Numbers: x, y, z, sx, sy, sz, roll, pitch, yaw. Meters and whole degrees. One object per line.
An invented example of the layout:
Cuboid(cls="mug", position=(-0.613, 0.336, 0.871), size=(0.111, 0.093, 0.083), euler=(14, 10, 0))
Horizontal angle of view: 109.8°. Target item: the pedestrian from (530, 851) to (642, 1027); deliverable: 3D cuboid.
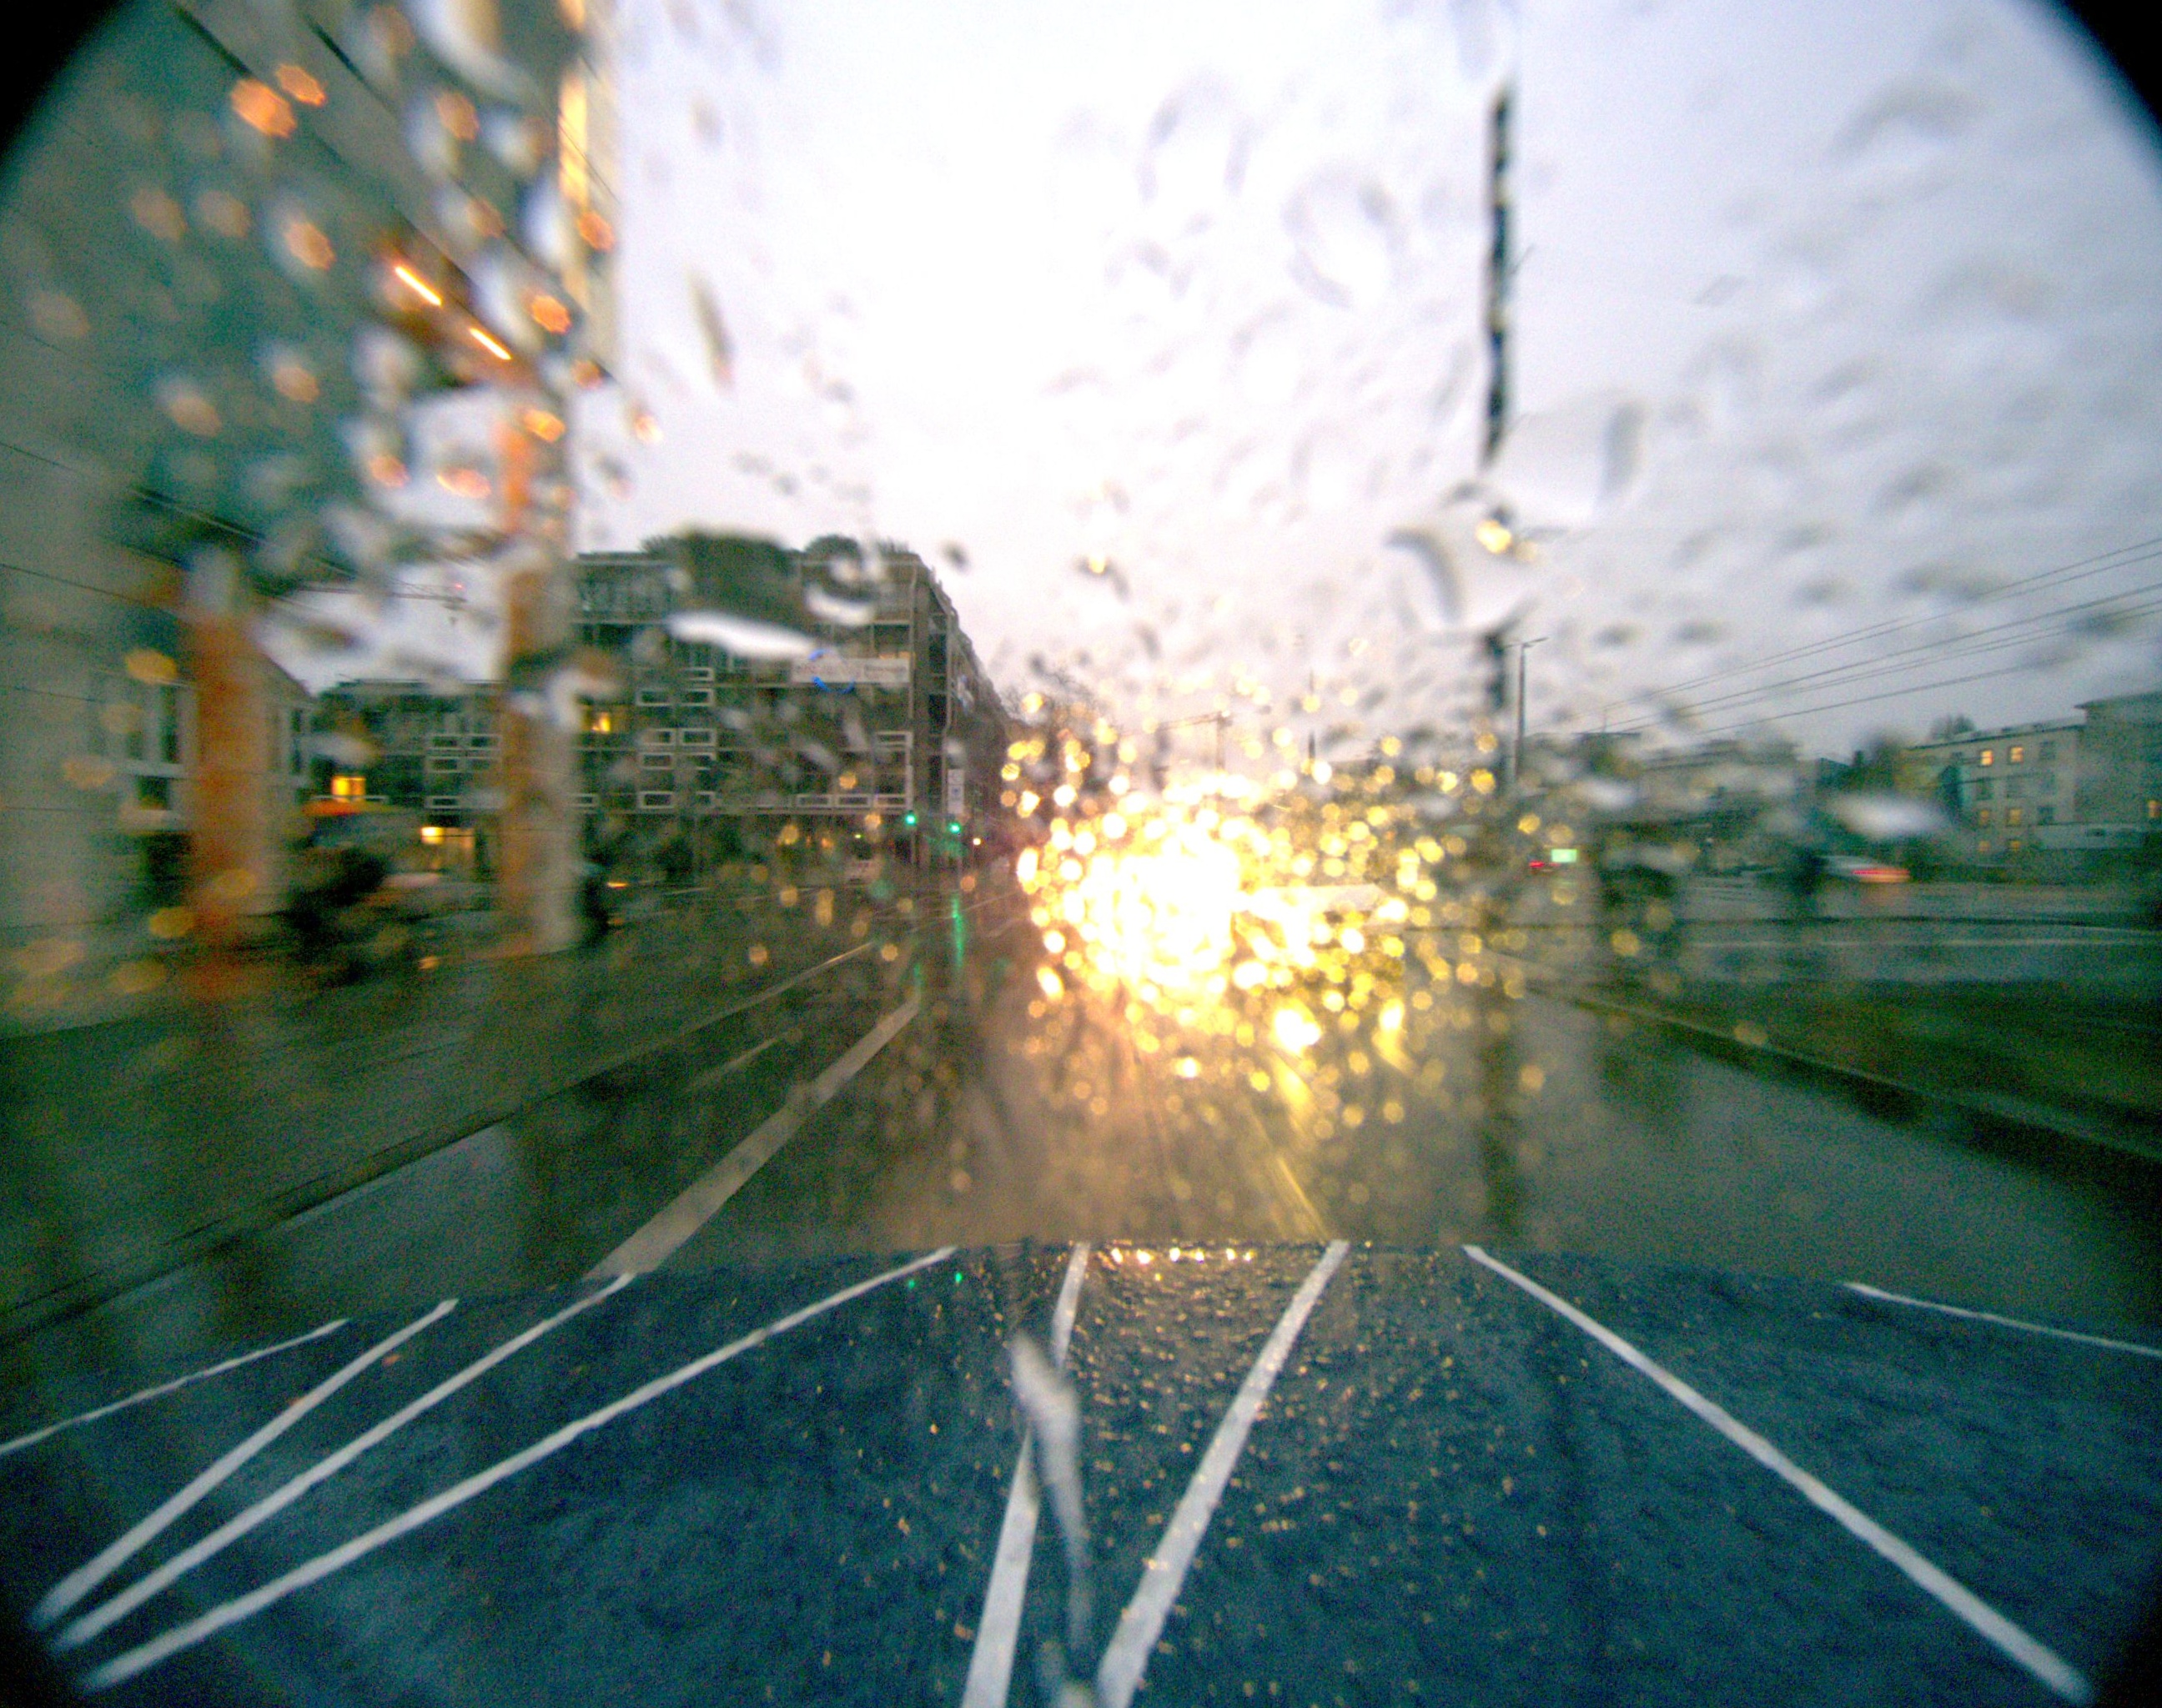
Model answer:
Cuboid(cls="pedestrian", position=(-4.988, 0.822, 7.700), size=(0.708, 1.685, 0.723), euler=(1, 0, -12))

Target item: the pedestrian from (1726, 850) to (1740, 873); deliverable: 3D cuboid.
Cuboid(cls="pedestrian", position=(47.729, 0.552, 55.619), size=(0.655, 1.656, 0.743), euler=(1, 1, 36))

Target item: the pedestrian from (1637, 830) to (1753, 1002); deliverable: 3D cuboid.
Cuboid(cls="pedestrian", position=(6.506, 0.616, 8.065), size=(0.655, 1.708, 0.748), euler=(-1, 1, -27))

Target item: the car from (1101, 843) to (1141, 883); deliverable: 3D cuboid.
Cuboid(cls="car", position=(1.949, 0.418, 38.041), size=(1.865, 1.867, 4.000), euler=(-1, 1, 1))

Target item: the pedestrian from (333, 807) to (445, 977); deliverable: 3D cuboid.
Cuboid(cls="pedestrian", position=(-9.029, 0.480, 9.935), size=(0.965, 2.149, 0.581), euler=(0, 1, 11))

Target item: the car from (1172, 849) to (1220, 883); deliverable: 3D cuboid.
Cuboid(cls="car", position=(6.021, 0.587, 40.156), size=(1.998, 1.673, 4.000), euler=(-1, 1, 1))

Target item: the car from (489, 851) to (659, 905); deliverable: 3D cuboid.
Cuboid(cls="car", position=(-15.134, 0.692, 22.829), size=(3.825, 1.483, 1.857), euler=(0, 2, 2))

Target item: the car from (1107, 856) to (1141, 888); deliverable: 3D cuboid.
Cuboid(cls="car", position=(2.848, 1.187, 50.970), size=(1.998, 2.002, 3.999), euler=(0, 1, 0))

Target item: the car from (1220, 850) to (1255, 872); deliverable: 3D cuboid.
Cuboid(cls="car", position=(11.389, 0.509, 55.511), size=(1.800, 1.521, 3.929), euler=(-2, 0, 1))

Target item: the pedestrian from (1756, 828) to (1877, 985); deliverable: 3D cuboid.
Cuboid(cls="pedestrian", position=(8.452, 0.562, 8.741), size=(0.862, 1.704, 0.763), euler=(-1, 1, -27))

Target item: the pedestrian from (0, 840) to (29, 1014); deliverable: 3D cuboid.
Cuboid(cls="pedestrian", position=(-11.426, 0.753, 7.699), size=(0.616, 1.794, 0.624), euler=(-1, 0, 0))

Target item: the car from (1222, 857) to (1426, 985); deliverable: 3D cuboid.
Cuboid(cls="car", position=(3.248, 0.803, 11.024), size=(1.813, 1.464, 4.140), euler=(-1, 0, 3))

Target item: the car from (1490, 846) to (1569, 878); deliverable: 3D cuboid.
Cuboid(cls="car", position=(30.116, 0.522, 51.193), size=(2.000, 2.002, 4.788), euler=(-1, 1, -8))

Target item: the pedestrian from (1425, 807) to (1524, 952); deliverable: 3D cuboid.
Cuboid(cls="pedestrian", position=(6.084, 0.370, 11.797), size=(0.906, 2.133, 1.017), euler=(-1, 1, -12))

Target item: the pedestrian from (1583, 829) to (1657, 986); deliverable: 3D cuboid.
Cuboid(cls="pedestrian", position=(6.241, 0.584, 8.810), size=(0.665, 1.725, 0.606), euler=(0, 3, 36))

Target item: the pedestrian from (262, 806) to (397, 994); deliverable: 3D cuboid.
Cuboid(cls="pedestrian", position=(-9.100, 0.531, 9.223), size=(0.960, 2.179, 0.711), euler=(0, 1, 11))

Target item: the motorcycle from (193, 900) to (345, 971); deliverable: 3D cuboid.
Cuboid(cls="motorcycle", position=(-10.987, 1.096, 10.296), size=(1.636, 0.884, 0.394), euler=(-1, 0, 1))

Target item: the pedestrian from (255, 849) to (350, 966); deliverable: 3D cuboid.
Cuboid(cls="pedestrian", position=(-10.942, 0.736, 10.698), size=(0.779, 1.598, 0.501), euler=(-1, 0, 0))

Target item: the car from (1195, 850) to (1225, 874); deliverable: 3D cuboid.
Cuboid(cls="car", position=(10.854, 0.657, 64.176), size=(1.952, 1.870, 4.000), euler=(-2, 0, 1))

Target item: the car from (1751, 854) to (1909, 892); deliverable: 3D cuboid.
Cuboid(cls="car", position=(31.696, 0.742, 32.376), size=(2.001, 1.472, 4.435), euler=(-1, 1, -12))

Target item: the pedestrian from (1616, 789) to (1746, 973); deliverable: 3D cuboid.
Cuboid(cls="pedestrian", position=(7.685, 0.316, 9.756), size=(1.054, 2.195, 0.956), euler=(-1, 1, -27))

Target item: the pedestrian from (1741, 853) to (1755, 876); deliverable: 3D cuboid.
Cuboid(cls="pedestrian", position=(48.294, 0.784, 55.004), size=(0.655, 1.652, 0.743), euler=(1, 1, 36))

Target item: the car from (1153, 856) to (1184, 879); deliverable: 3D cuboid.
Cuboid(cls="car", position=(6.587, 0.976, 57.524), size=(1.868, 1.652, 3.986), euler=(0, 1, 0))
